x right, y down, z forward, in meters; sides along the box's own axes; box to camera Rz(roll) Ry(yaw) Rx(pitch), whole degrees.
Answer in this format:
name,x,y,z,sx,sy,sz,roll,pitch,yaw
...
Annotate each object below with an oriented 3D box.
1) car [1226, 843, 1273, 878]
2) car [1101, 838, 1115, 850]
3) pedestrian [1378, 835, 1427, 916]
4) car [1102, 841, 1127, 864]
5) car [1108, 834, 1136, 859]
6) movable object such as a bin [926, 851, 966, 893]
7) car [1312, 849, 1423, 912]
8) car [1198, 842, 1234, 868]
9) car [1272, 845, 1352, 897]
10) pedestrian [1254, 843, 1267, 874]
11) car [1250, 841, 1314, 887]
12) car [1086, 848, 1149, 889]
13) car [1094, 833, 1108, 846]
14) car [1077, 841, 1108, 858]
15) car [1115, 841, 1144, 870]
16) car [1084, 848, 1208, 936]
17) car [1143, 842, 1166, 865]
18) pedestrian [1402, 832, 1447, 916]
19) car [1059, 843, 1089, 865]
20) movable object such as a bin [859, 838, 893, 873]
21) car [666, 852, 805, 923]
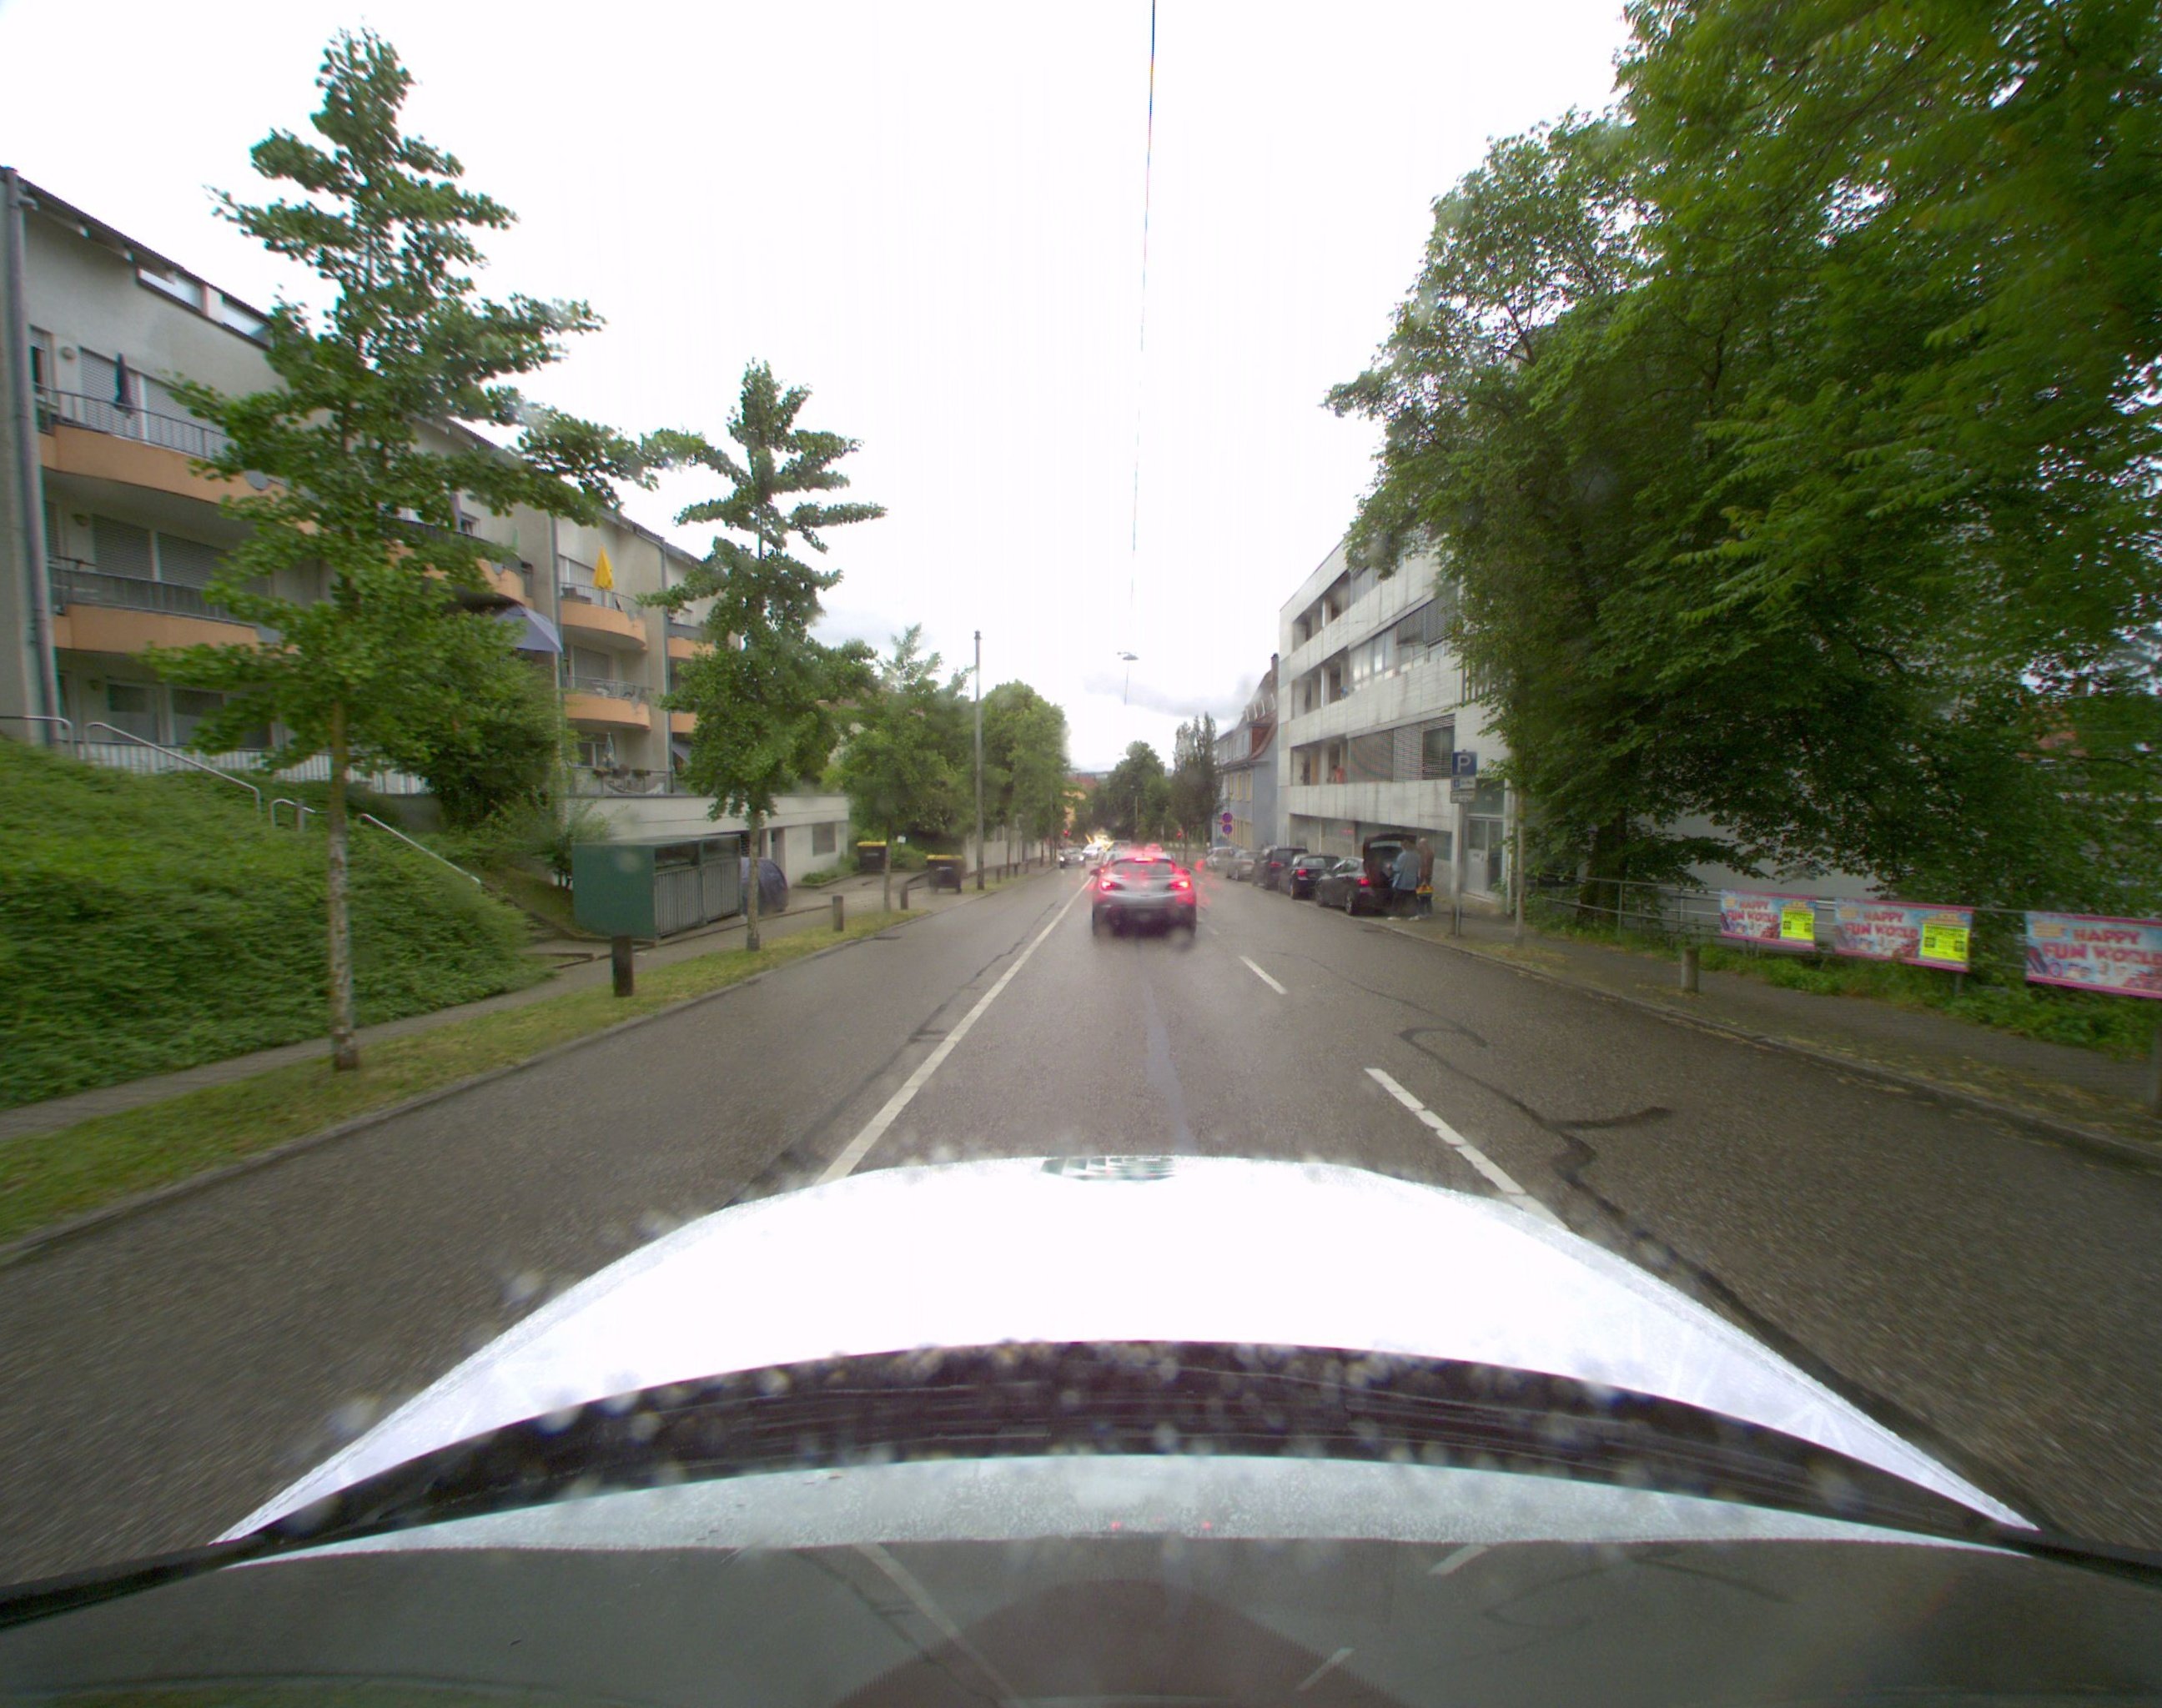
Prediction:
name,x,y,z,sx,sy,sz,roll,pitch,yaw
car,7.956,0.264,38.842,1.577,1.493,4.294,-1,2,3
car,3.957,-1.510,118.549,1.985,1.535,4.313,3,2,3
pedestrian,7.085,0.463,17.990,0.760,1.723,0.737,-3,1,2
car,2.594,-0.141,64.182,1.748,1.651,4.000,3,1,1
car,3.616,-0.680,72.349,2.324,2.036,4.739,3,2,3
movable object such as a bin,-4.643,0.618,28.010,1.268,1.387,0.489,1,1,0
car,7.225,0.601,20.914,1.498,1.435,4.001,-1,0,1
car,8.881,0.026,53.758,1.898,1.570,4.004,-1,2,3
car,7.462,0.506,26.647,1.674,1.464,4.004,-1,2,3
pedestrian,10.332,0.240,46.846,0.642,1.784,0.542,0,1,3
car,7.649,0.319,31.356,1.678,1.570,4.004,-1,2,3
car,1.181,0.461,28.196,1.793,1.323,3.996,1,0,-3
car,3.120,-2.271,126.062,1.985,1.784,4.004,3,2,3
car,1.194,-0.498,83.724,1.807,1.479,3.884,-3,1,22
car,3.287,0.080,55.906,1.763,1.780,3.977,3,2,1
car,1.101,0.618,15.557,1.940,1.431,3.882,0,1,-2
car,7.288,-0.096,80.786,1.985,2.036,4.739,3,2,3
pedestrian,7.811,0.438,18.526,0.693,1.836,0.657,-4,2,-43
car,-0.462,-0.015,60.425,1.842,1.469,4.091,-4,0,3
movable object such as a bin,-8.501,0.057,33.783,1.268,1.387,0.489,1,1,0
car,-8.517,0.756,20.456,1.736,1.456,3.884,-4,1,0
